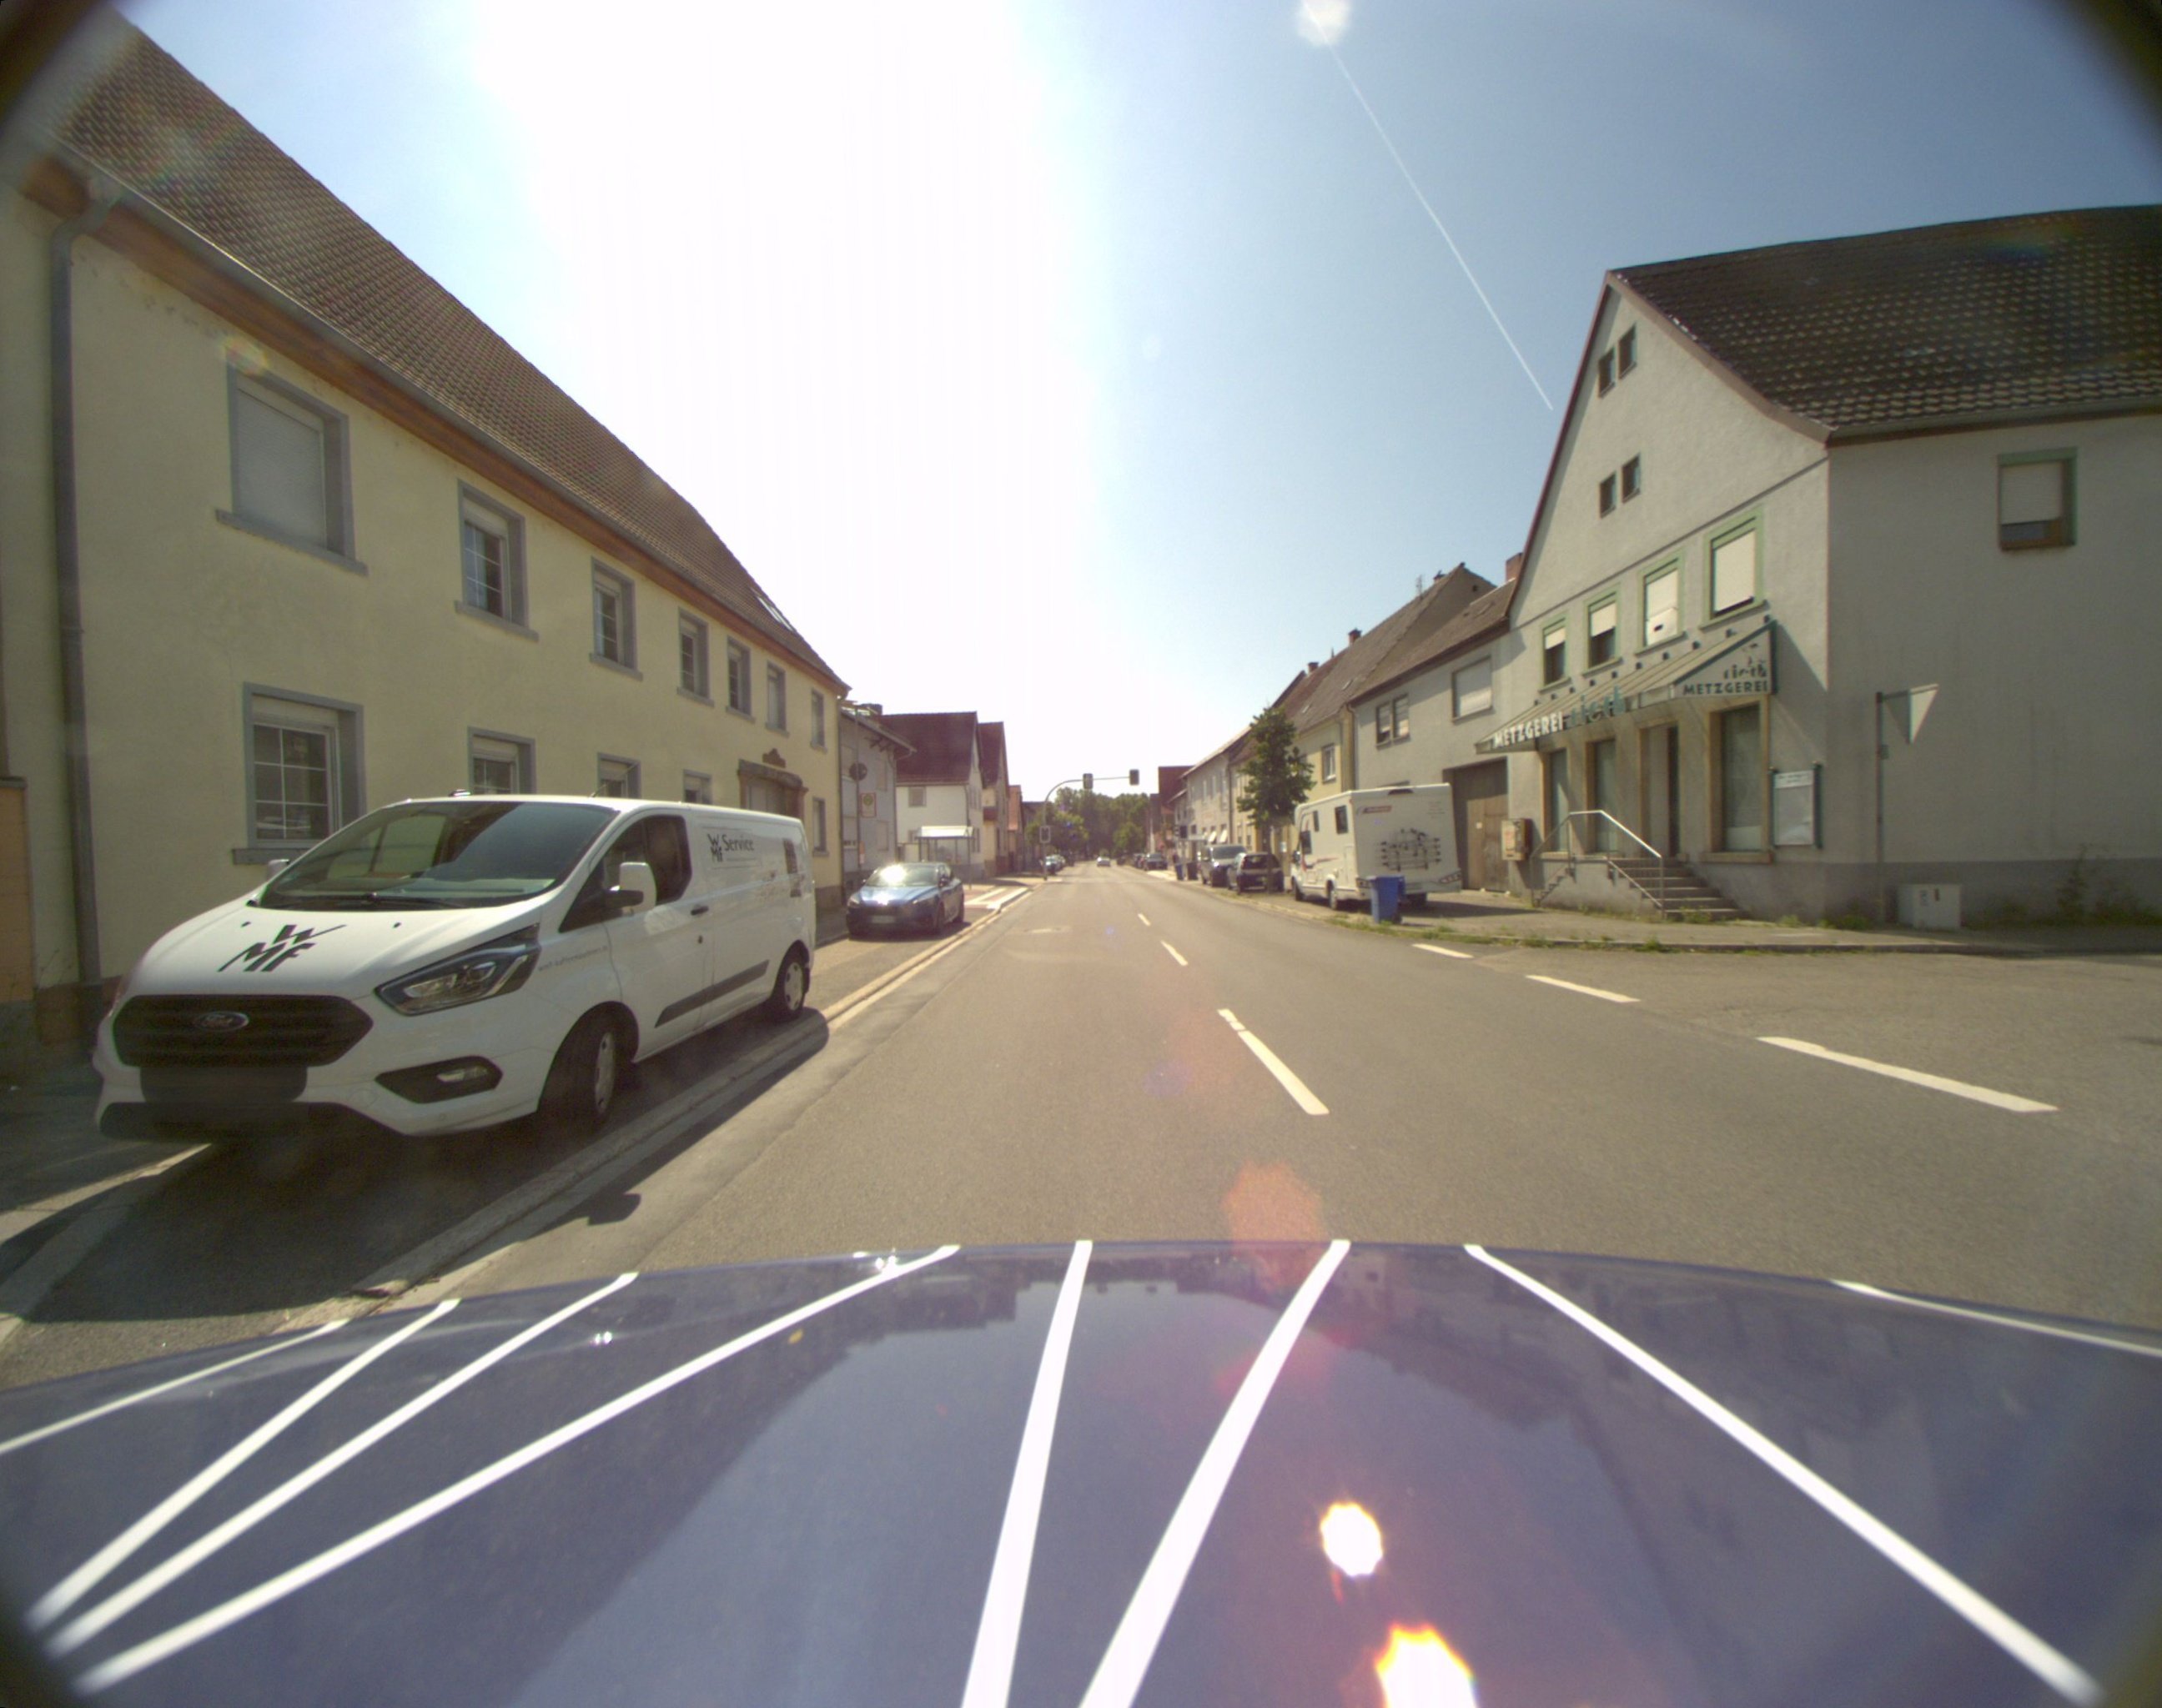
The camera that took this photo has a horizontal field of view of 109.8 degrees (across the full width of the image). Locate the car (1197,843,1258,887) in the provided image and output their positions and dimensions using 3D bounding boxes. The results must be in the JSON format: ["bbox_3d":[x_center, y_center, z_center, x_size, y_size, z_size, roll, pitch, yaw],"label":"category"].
[{"bbox_3d":[6.611,0.466,34.874,1.998,1.837,4.957,-2,0,2],"label":"car"}]

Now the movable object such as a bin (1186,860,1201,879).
[{"bbox_3d":[6.293,0.863,42.521,0.718,1.060,0.550,-2,1,-1],"label":"movable object such as a bin"}]

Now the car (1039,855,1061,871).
[{"bbox_3d":[-3.126,0.884,76.767,1.999,1.477,3.999,-2,0,-1],"label":"car"}]

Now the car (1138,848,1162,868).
[{"bbox_3d":[6.719,0.411,74.570,1.998,1.837,4.957,-2,0,2],"label":"car"}]

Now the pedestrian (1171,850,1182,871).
[{"bbox_3d":[7.235,0.493,57.550,0.753,1.523,0.581,-2,1,-1],"label":"pedestrian"}]

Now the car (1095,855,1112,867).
[{"bbox_3d":[2.989,0.920,100.479,1.998,1.521,4.001,-2,0,4],"label":"car"}]

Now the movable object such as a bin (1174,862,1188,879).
[{"bbox_3d":[5.766,0.960,43.929,0.718,0.907,0.550,-2,1,-1],"label":"movable object such as a bin"}]

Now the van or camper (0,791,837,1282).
[{"bbox_3d":[-3.672,0.717,5.676,1.999,1.942,5.345,0,0,-1],"label":"van or camper"}]

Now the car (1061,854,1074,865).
[{"bbox_3d":[-2.131,0.831,120.947,1.999,1.659,3.999,-2,0,-1],"label":"car"}]

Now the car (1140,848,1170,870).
[{"bbox_3d":[6.498,0.389,67.398,2.355,1.837,4.957,-2,0,2],"label":"car"}]

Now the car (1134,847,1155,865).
[{"bbox_3d":[6.937,0.182,83.443,1.998,1.837,4.957,-2,0,2],"label":"car"}]

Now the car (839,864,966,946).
[{"bbox_3d":[-3.617,0.972,16.128,1.733,1.419,3.985,-2,0,-1],"label":"car"}]

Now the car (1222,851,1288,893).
[{"bbox_3d":[6.626,0.648,29.262,1.689,1.474,3.618,-2,0,1],"label":"car"}]

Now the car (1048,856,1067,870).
[{"bbox_3d":[-2.697,0.961,87.042,1.999,1.477,3.999,-2,0,-1],"label":"car"}]

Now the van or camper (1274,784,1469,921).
[{"bbox_3d":[7.202,-0.045,20.029,2.452,2.888,7.067,-2,0,1],"label":"van or camper"}]

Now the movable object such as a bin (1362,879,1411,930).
[{"bbox_3d":[5.647,0.924,14.056,0.644,0.867,0.613,-2,1,0],"label":"movable object such as a bin"}]
